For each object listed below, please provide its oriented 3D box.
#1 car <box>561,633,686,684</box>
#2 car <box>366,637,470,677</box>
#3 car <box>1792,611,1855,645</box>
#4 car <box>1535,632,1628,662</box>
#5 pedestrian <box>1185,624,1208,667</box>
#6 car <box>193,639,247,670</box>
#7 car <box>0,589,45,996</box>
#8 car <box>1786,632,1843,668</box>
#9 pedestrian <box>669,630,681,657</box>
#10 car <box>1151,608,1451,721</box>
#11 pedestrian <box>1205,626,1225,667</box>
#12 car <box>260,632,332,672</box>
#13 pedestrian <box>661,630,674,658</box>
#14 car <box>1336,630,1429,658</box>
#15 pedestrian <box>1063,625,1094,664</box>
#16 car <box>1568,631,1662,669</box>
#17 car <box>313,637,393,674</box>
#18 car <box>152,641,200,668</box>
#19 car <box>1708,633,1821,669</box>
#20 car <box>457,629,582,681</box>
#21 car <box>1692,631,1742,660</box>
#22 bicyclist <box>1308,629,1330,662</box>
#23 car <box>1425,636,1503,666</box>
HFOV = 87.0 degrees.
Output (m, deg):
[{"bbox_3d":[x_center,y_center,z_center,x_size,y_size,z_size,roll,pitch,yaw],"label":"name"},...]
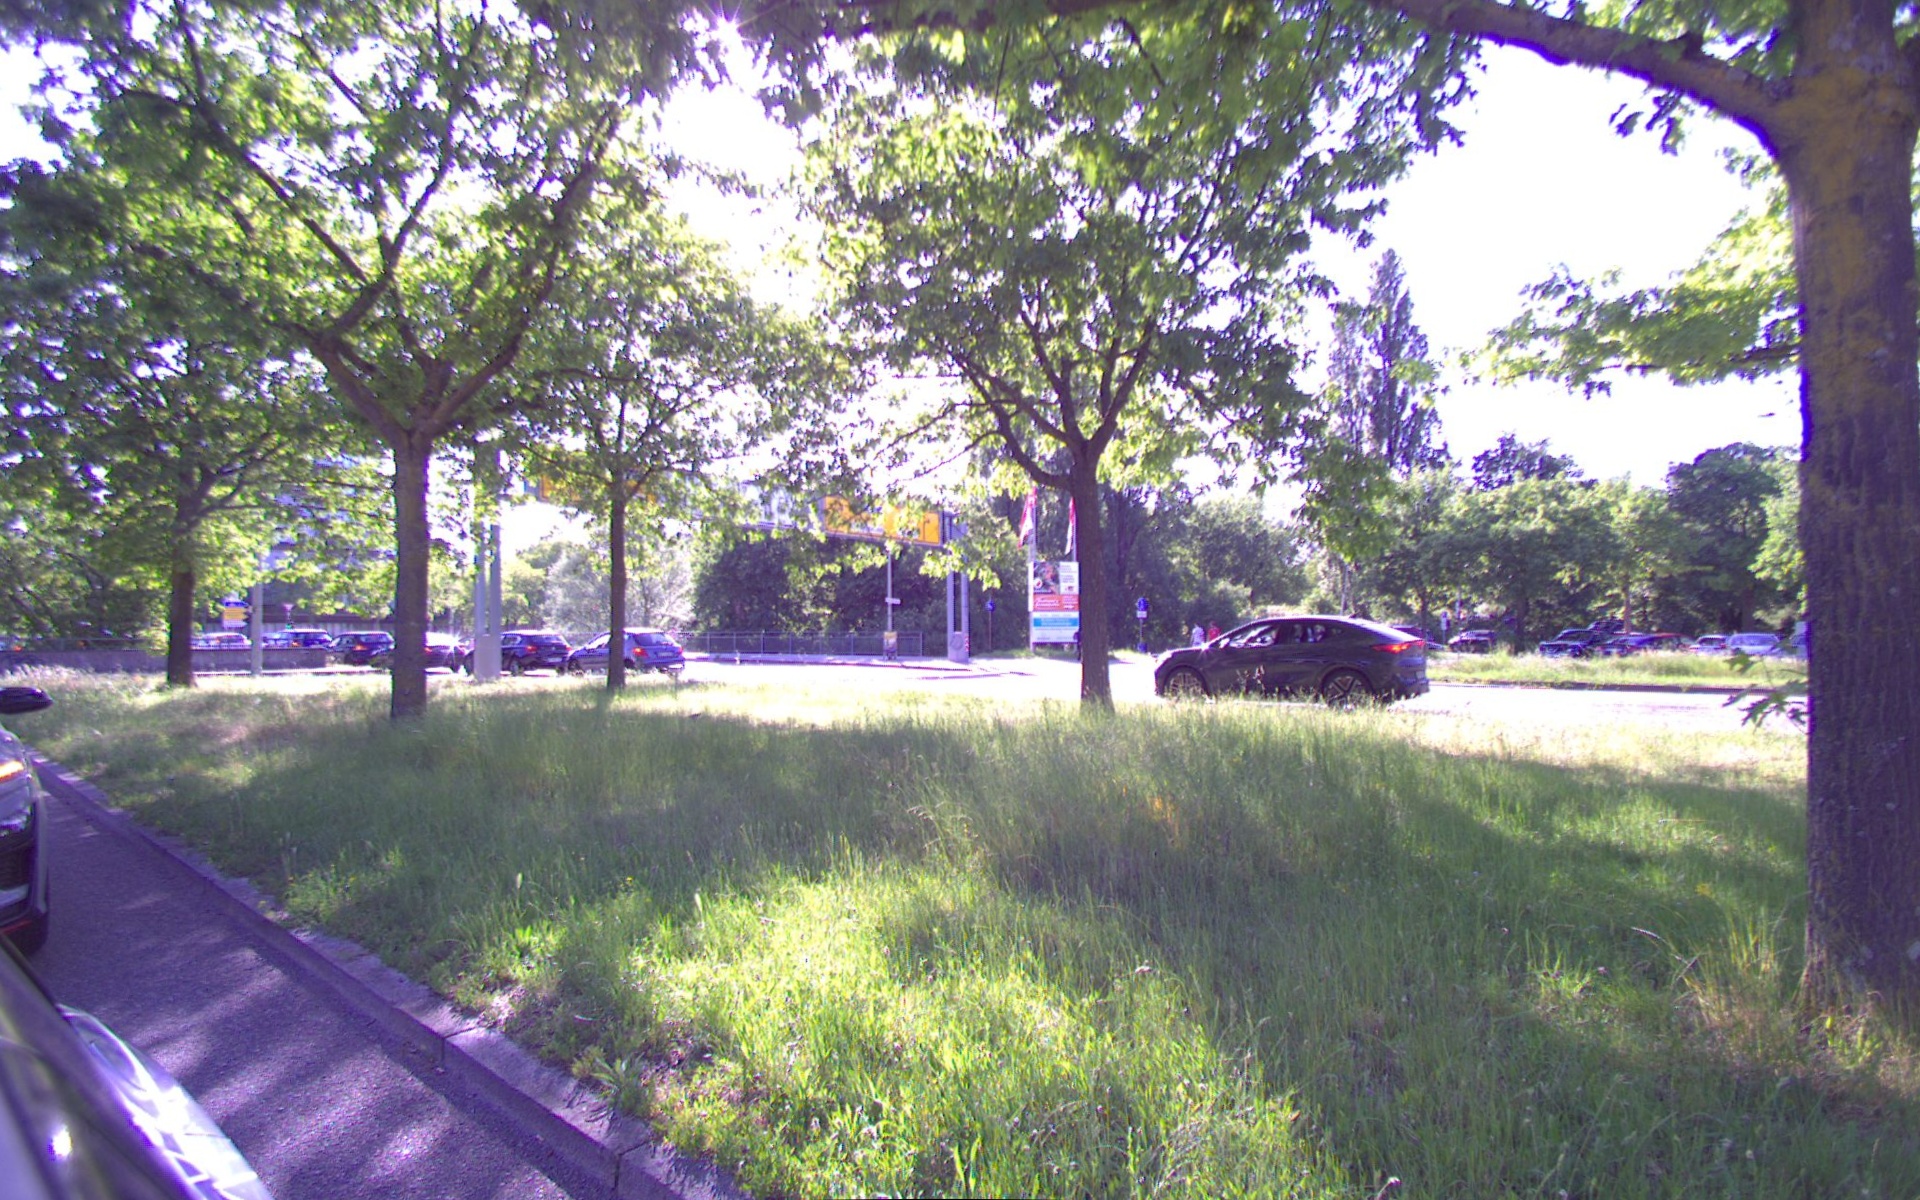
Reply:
[{"bbox_3d":[-9.611,1.645,28.799,3.601,1.374,1.543,-2,-2,35],"label":"car"},{"bbox_3d":[-19.230,1.986,35.857,4.058,1.323,1.604,-2,-2,35],"label":"car"},{"bbox_3d":[43.880,1.408,51.403,3.694,1.681,1.895,1,-2,-41],"label":"car"},{"bbox_3d":[23.348,1.770,38.121,2.774,1.072,1.324,-1,-2,23],"label":"car"},{"bbox_3d":[10.755,2.055,46.054,0.847,1.881,0.901,-1,0,4],"label":"pedestrian"},{"bbox_3d":[-35.045,2.583,47.905,2.875,1.350,1.214,-5,-4,34],"label":"car"},{"bbox_3d":[-5.635,0.766,4.603,3.986,1.544,1.730,-2,-2,41],"label":"car"},{"bbox_3d":[35.606,2.059,42.224,1.617,1.430,3.038,-2,-2,38],"label":"car"},{"bbox_3d":[-16.086,2.465,57.082,0.544,1.510,0.416,-2,-2,33],"label":"pedestrian"},{"bbox_3d":[5.649,1.018,17.107,4.456,1.660,1.808,-2,-2,40],"label":"car"},{"bbox_3d":[11.525,2.086,45.799,0.743,1.802,0.904,-1,0,7],"label":"pedestrian"},{"bbox_3d":[-28.107,2.202,42.814,3.195,1.571,1.433,-4,-3,34],"label":"car"},{"bbox_3d":[-16.380,2.455,56.647,0.544,1.510,0.416,-2,-2,33],"label":"pedestrian"},{"bbox_3d":[21.122,2.197,50.760,3.957,1.385,1.826,-1,-2,11],"label":"car"},{"bbox_3d":[5.024,1.874,42.867,0.985,1.642,0.904,-2,-2,33],"label":"pedestrian"},{"bbox_3d":[23.528,1.780,36.438,2.783,1.315,1.327,-2,-2,32],"label":"car"},{"bbox_3d":[-23.423,2.123,39.028,3.195,1.349,1.464,-3,-2,35],"label":"car"},{"bbox_3d":[-40.075,2.779,51.709,2.761,1.270,1.186,-4,-3,35],"label":"car"},{"bbox_3d":[26.880,1.693,33.914,2.783,1.165,1.327,-1,-2,32],"label":"car"},{"bbox_3d":[-14.172,1.725,32.454,4.215,1.562,1.853,-2,-2,37],"label":"car"},{"bbox_3d":[32.964,1.978,44.118,1.616,1.187,3.040,-2,-2,35],"label":"car"},{"bbox_3d":[16.452,2.079,46.442,0.839,1.500,0.678,-1,-2,13],"label":"bicyclist"},{"bbox_3d":[31.542,3.187,63.489,3.961,1.807,1.991,-1,-2,14],"label":"car"}]
